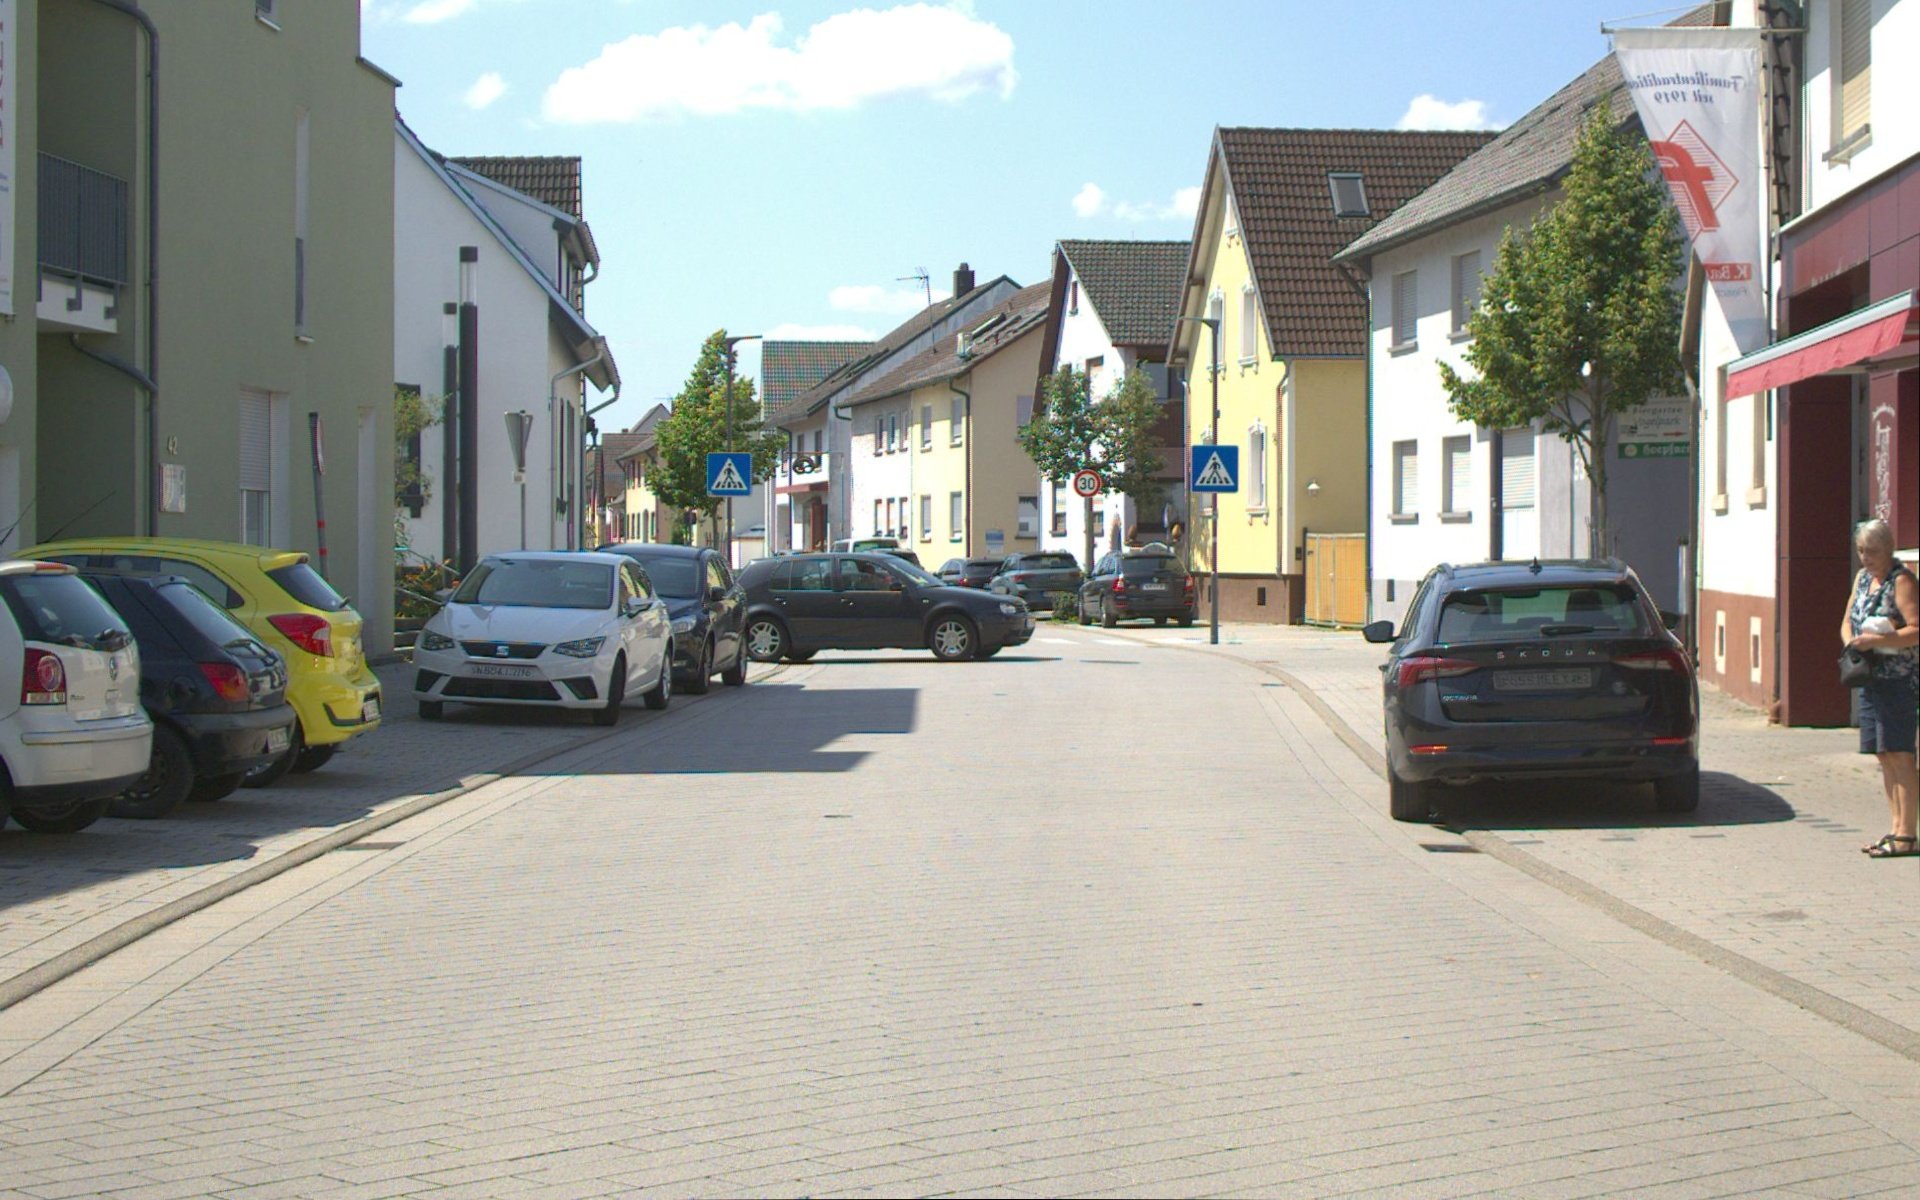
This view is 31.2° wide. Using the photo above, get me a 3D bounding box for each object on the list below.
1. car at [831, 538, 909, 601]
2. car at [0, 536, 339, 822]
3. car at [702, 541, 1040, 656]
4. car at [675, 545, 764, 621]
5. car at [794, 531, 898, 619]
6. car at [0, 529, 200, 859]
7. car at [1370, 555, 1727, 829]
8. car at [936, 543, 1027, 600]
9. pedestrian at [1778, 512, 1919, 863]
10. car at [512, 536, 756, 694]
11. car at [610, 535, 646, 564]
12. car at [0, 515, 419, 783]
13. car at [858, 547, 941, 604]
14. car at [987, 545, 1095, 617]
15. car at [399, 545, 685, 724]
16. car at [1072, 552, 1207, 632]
[{"bbox_3d":[-2.743,-0.948,104.275,1.906,1.865,4.001,0,1,-8],"label":"car"},{"bbox_3d":[-5.742,0.351,19.565,3.987,1.436,1.691,4,1,4],"label":"car"},{"bbox_3d":[-1.133,-0.026,44.742,4.107,1.433,1.764,0,1,10],"label":"car"},{"bbox_3d":[-5.137,-0.386,73.053,1.747,1.525,4.001,2,1,-5],"label":"car"},{"bbox_3d":[-2.784,-0.623,82.967,1.993,2.051,4.375,0,1,-9],"label":"car"},{"bbox_3d":[-6.008,0.342,17.173,3.902,1.497,1.750,3,1,6],"label":"car"},{"bbox_3d":[3.458,0.475,20.912,1.858,1.454,4.585,-1,1,7],"label":"car"},{"bbox_3d":[0.510,-0.716,84.855,1.710,1.382,3.707,0,1,-8],"label":"car"},{"bbox_3d":[4.398,0.408,16.565,0.730,1.634,0.749,-2,0,6],"label":"pedestrian"},{"bbox_3d":[-3.337,0.111,35.938,1.813,1.485,4.277,2,1,4],"label":"car"},{"bbox_3d":[-17.256,-2.621,178.625,1.687,1.447,3.794,0,1,-8],"label":"car"},{"bbox_3d":[-5.519,0.257,22.068,3.693,1.520,1.672,3,1,5],"label":"car"},{"bbox_3d":[-1.761,-0.723,98.694,1.877,1.586,4.001,0,1,-8],"label":"car"},{"bbox_3d":[1.805,-0.442,77.403,1.846,1.557,3.694,0,1,-8],"label":"car"},{"bbox_3d":[-3.630,0.258,30.478,1.758,1.406,3.877,3,1,4],"label":"car"},{"bbox_3d":[3.504,-0.168,67.845,1.828,1.466,4.277,-2,1,-8],"label":"car"}]
